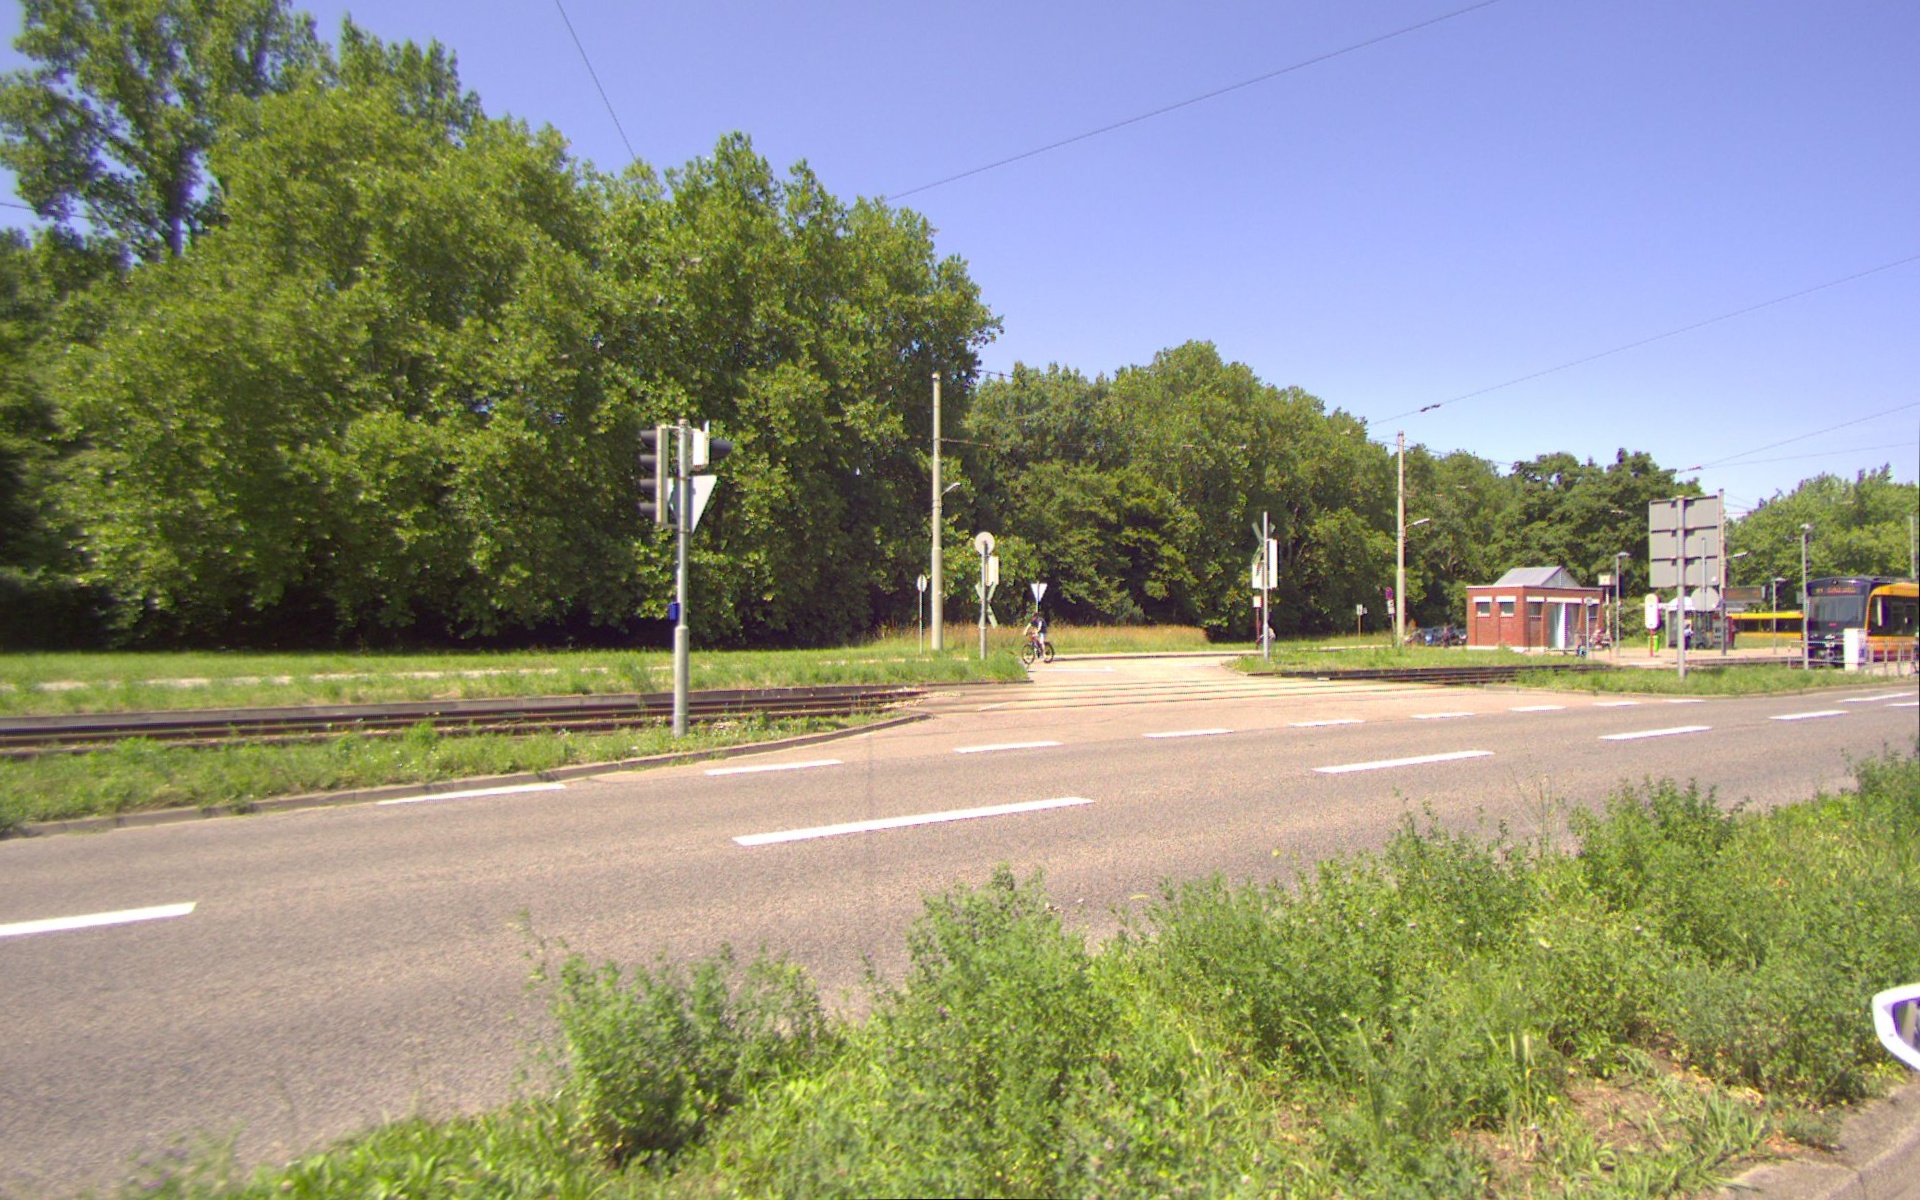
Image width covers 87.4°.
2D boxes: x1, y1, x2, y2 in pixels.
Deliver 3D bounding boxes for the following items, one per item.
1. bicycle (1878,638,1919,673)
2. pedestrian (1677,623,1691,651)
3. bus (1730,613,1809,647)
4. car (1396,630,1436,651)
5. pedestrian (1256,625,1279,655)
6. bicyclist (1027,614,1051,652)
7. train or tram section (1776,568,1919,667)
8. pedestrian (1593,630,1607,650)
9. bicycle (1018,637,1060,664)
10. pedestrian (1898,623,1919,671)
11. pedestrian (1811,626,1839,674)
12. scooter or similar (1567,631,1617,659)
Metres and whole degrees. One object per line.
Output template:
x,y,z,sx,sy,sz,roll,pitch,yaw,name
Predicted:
33.125,1.923,34.907,0.239,1.172,1.856,1,-1,-27,bicycle
38.512,1.965,53.399,0.520,1.455,0.458,1,-1,-35,pedestrian
89.191,3.218,110.802,1.963,3.613,7.549,1,-1,-7,bus
34.559,3.032,76.007,1.968,1.486,3.985,0,-1,37,car
17.864,2.331,58.371,1.245,1.724,0.518,0,-1,12,pedestrian
2.772,1.157,35.400,0.674,1.353,0.504,1,-1,-38,bicyclist
48.724,1.023,49.086,37.118,3.717,2.771,1,-1,-34,train or tram section
34.194,2.125,53.655,0.516,1.032,0.479,1,-1,-31,pedestrian
2.780,1.762,35.413,1.552,0.913,0.504,1,-1,-39,bicycle
33.271,1.633,34.893,0.696,1.650,0.816,1,-1,-27,pedestrian
28.739,1.641,33.381,0.528,1.561,0.868,0,-1,28,pedestrian
26.054,1.858,41.449,1.639,1.142,0.613,0,-1,12,scooter or similar
